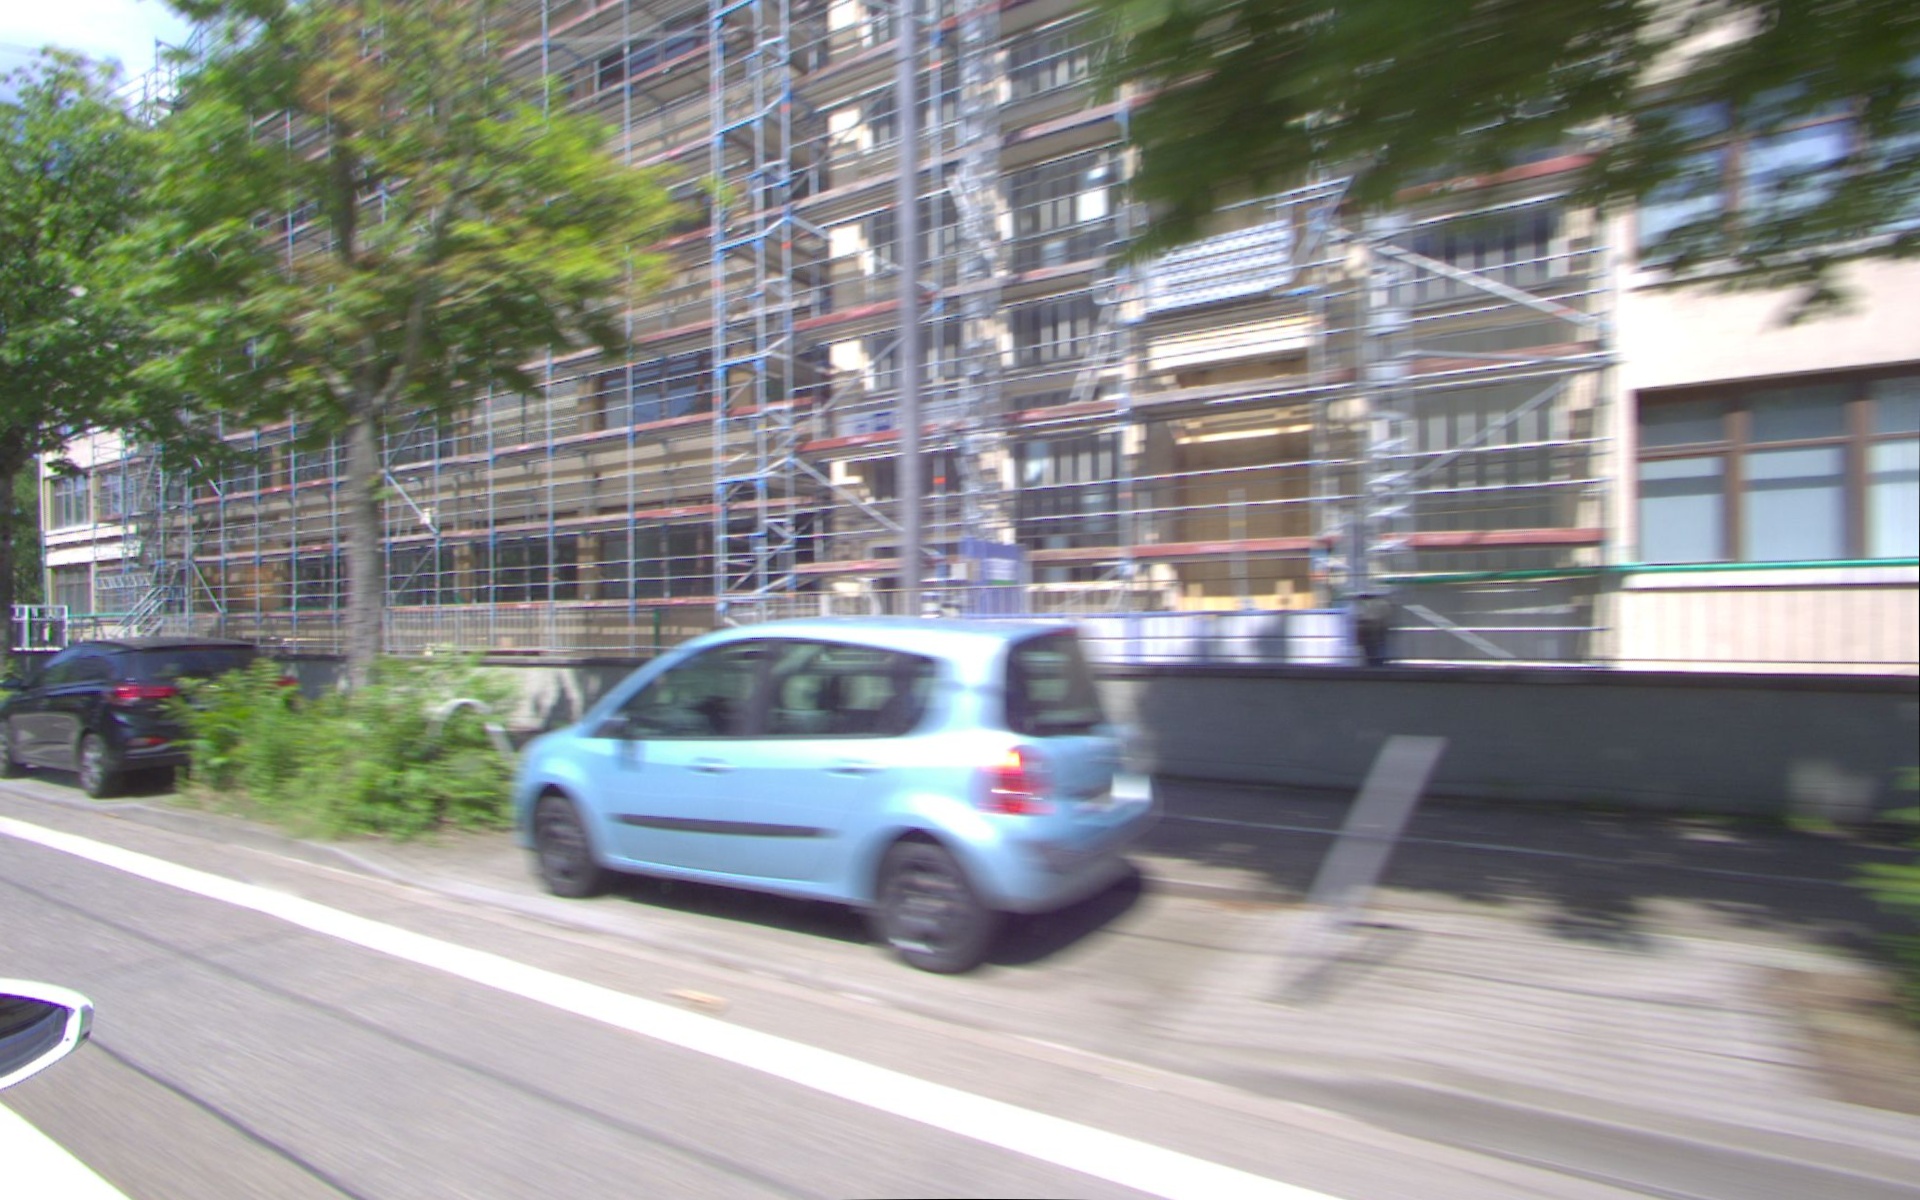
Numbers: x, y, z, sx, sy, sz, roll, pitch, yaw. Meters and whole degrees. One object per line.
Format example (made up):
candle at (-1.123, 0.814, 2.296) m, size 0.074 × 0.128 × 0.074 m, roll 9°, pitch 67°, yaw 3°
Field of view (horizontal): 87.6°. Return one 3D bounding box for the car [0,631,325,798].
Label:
car at (-8.659, 1.071, 10.629) m, size 3.983 × 1.456 × 1.669 m, roll -1°, pitch -1°, yaw 31°

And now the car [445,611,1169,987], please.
car at (-1.034, 0.859, 5.899) m, size 4.140 × 1.537 × 1.669 m, roll -1°, pitch -1°, yaw 31°
